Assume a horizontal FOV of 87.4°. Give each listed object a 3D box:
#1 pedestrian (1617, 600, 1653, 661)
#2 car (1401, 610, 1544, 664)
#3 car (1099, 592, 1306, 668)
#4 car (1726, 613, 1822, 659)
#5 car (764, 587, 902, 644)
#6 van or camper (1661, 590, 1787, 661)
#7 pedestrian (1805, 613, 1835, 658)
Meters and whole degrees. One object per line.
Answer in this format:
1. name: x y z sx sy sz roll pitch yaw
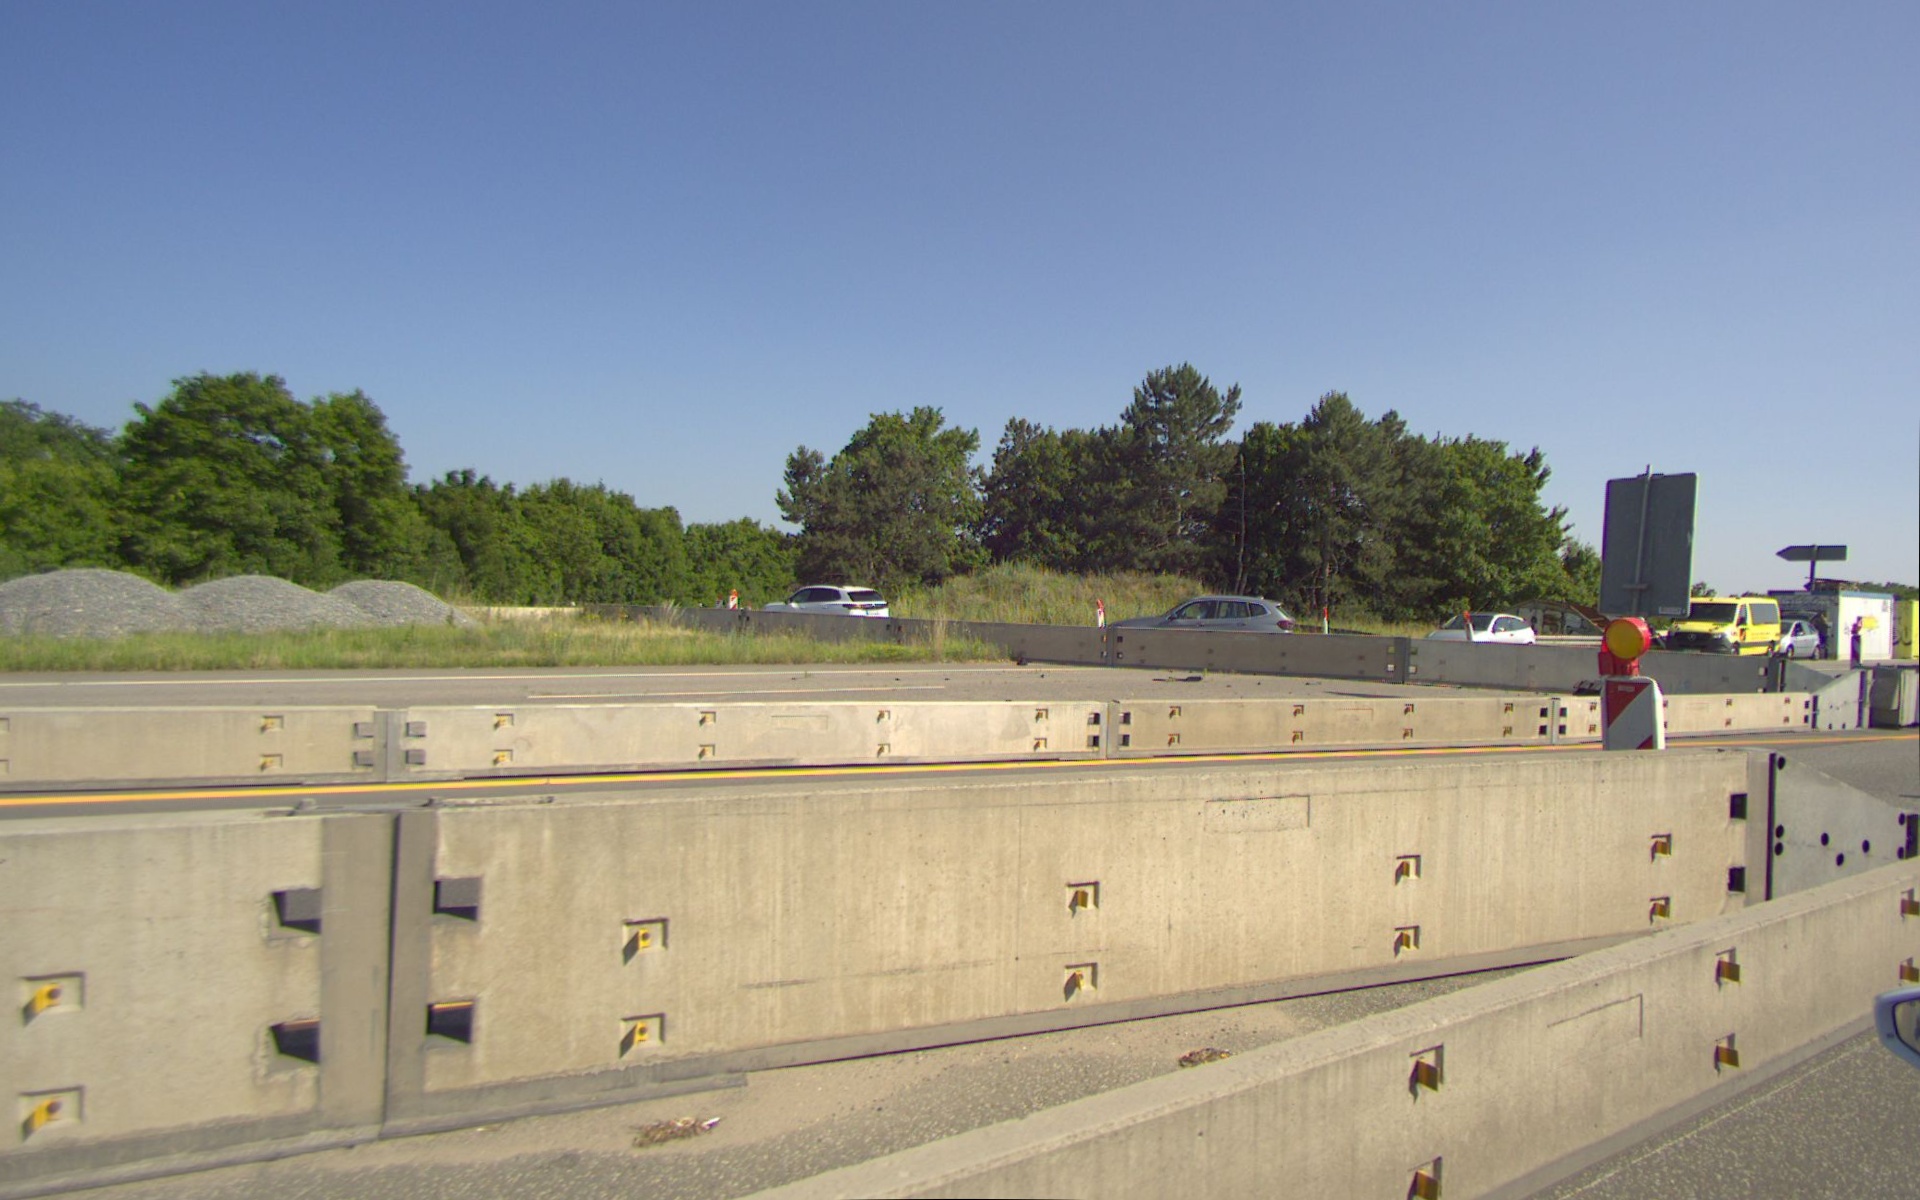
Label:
1. pedestrian: 21.116 0.946 31.425 0.791 1.844 0.734 1 1 -41
2. car: 15.232 1.082 29.807 4.248 1.479 1.852 2 0 -32
3. car: 6.002 0.688 24.873 4.751 1.643 2.000 2 0 18
4. car: 32.361 1.416 39.903 4.411 1.708 1.677 2 0 -33
5. car: -3.861 0.433 30.288 3.938 1.575 1.952 1 0 38
6. van or camper: 28.137 0.920 36.919 6.141 2.409 1.980 1 0 -36
7. pedestrian: 35.211 1.442 41.125 0.712 1.785 0.718 1 1 -31
